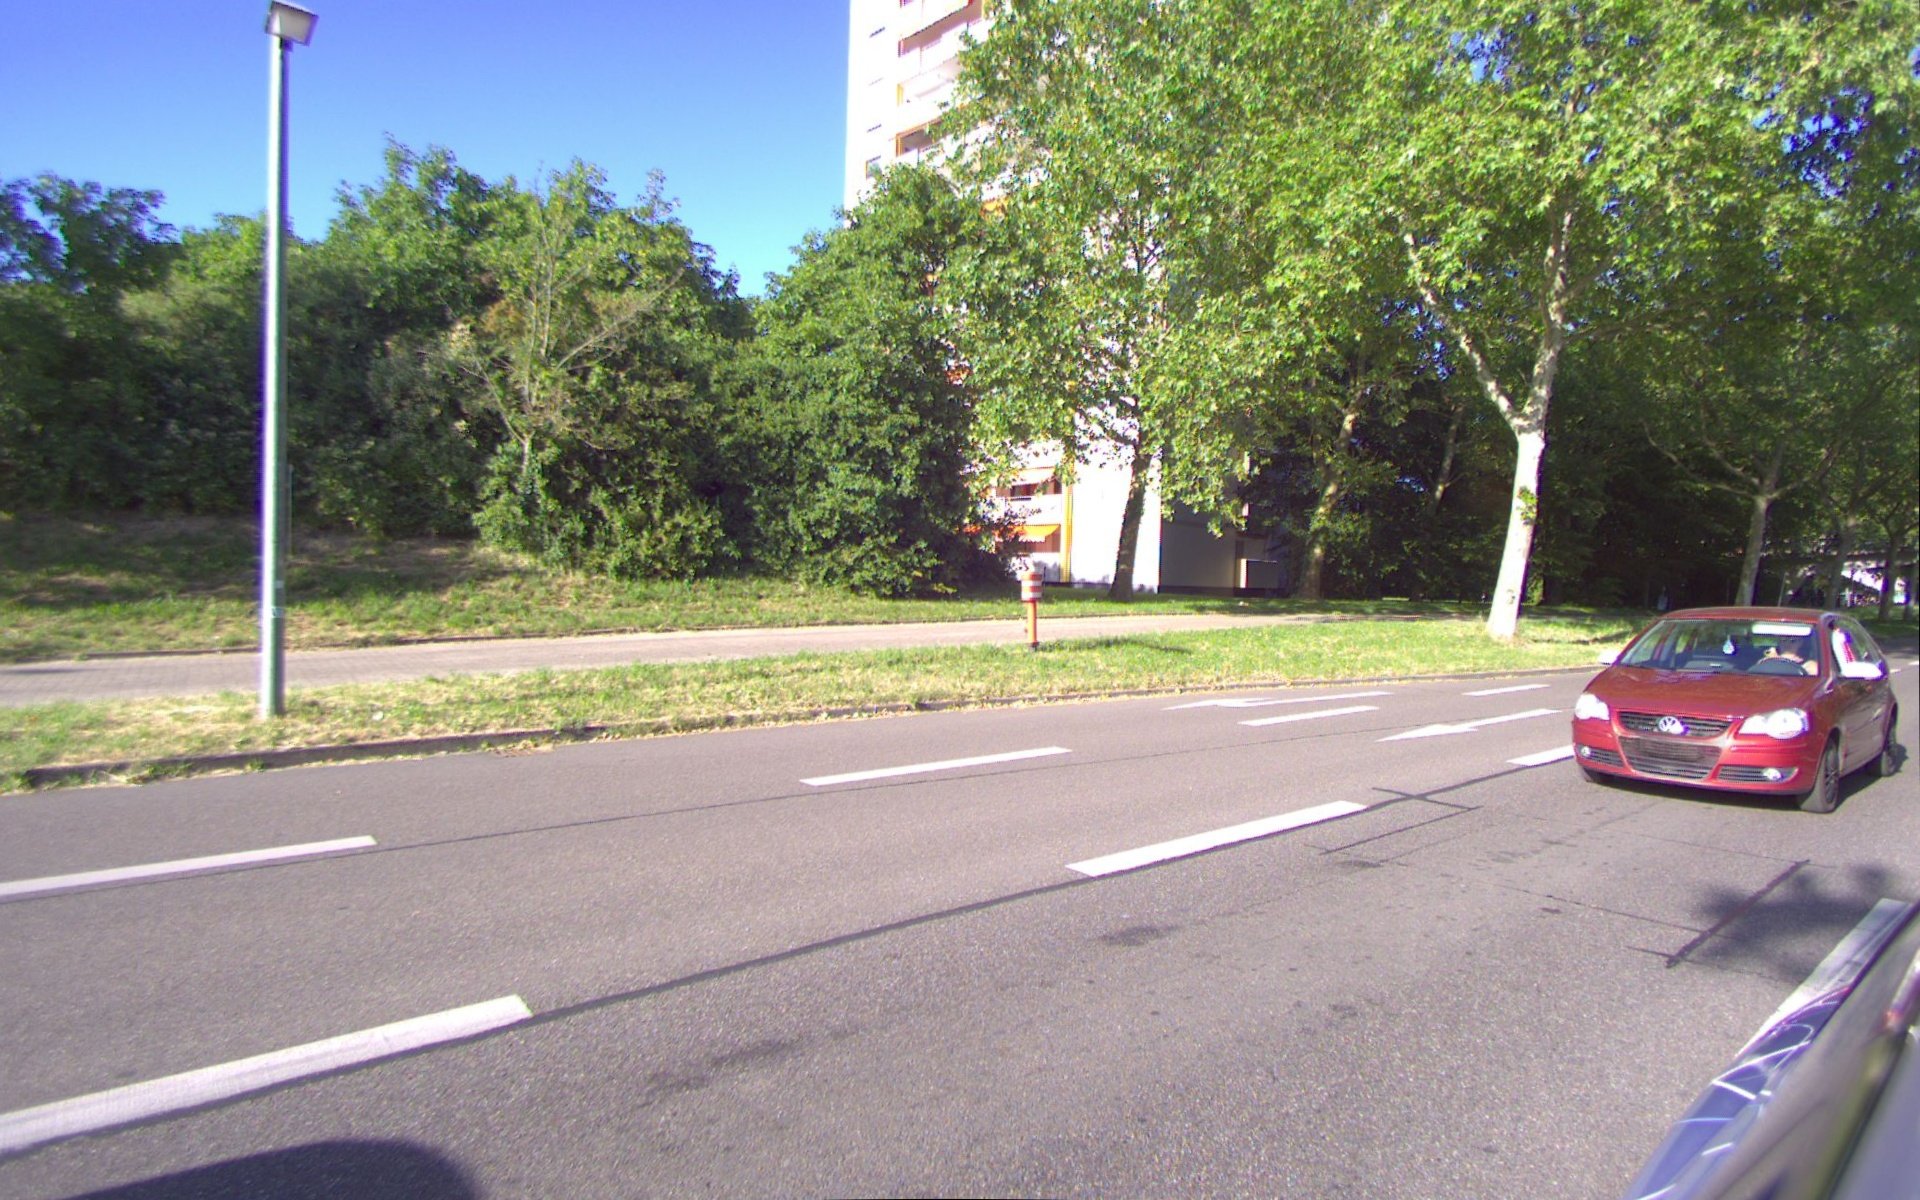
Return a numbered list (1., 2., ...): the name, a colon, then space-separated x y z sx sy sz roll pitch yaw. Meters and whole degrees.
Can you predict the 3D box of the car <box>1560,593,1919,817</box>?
1. car: 6.682 0.687 8.524 3.693 1.456 1.646 -1 1 -39
